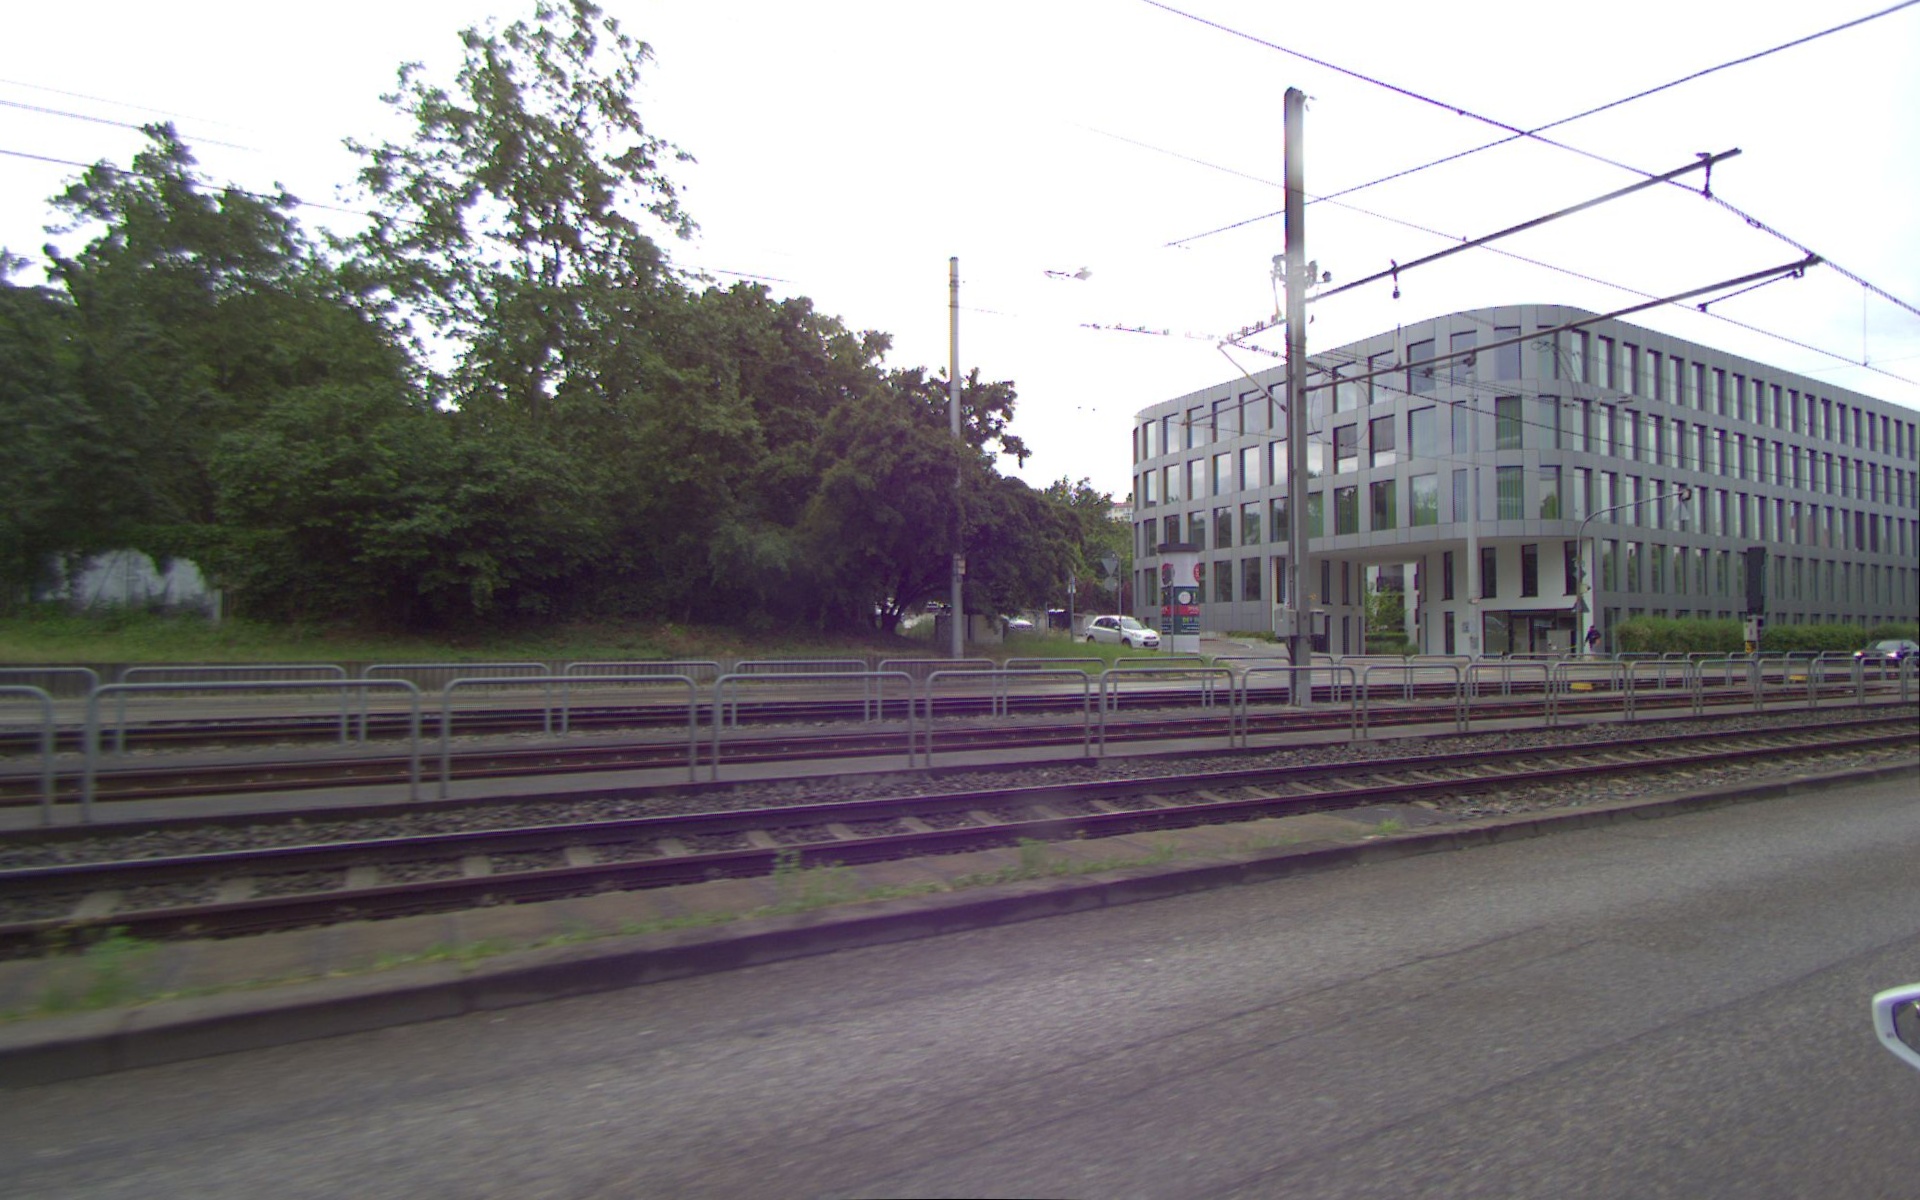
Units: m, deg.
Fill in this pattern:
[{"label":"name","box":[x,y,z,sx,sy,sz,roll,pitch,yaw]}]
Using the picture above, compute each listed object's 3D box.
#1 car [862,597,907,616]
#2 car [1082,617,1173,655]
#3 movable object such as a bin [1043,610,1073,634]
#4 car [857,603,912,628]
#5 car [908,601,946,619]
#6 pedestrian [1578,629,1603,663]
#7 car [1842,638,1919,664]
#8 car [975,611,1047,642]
[{"label":"car","box":[-6.356,0.588,84.630,1.910,1.510,4.020,2,0,28]},{"label":"car","box":[7.365,1.565,44.474,1.904,1.472,3.898,2,0,-32]},{"label":"movable object such as a bin","box":[5.963,1.330,60.971,1.261,1.414,1.258,2,0,-37]},{"label":"car","box":[-5.043,1.026,66.757,1.924,1.494,4.233,2,0,-31]},{"label":"car","box":[-2.998,0.936,91.101,1.862,1.512,3.872,0,-1,26]},{"label":"pedestrian","box":[31.246,2.286,49.773,0.835,1.669,0.721,2,-1,-29]},{"label":"car","box":[46.119,2.555,50.291,3.941,1.260,1.748,2,-3,-30]},{"label":"car","box":[2.644,1.371,53.167,1.852,1.472,4.052,2,0,-31]}]
